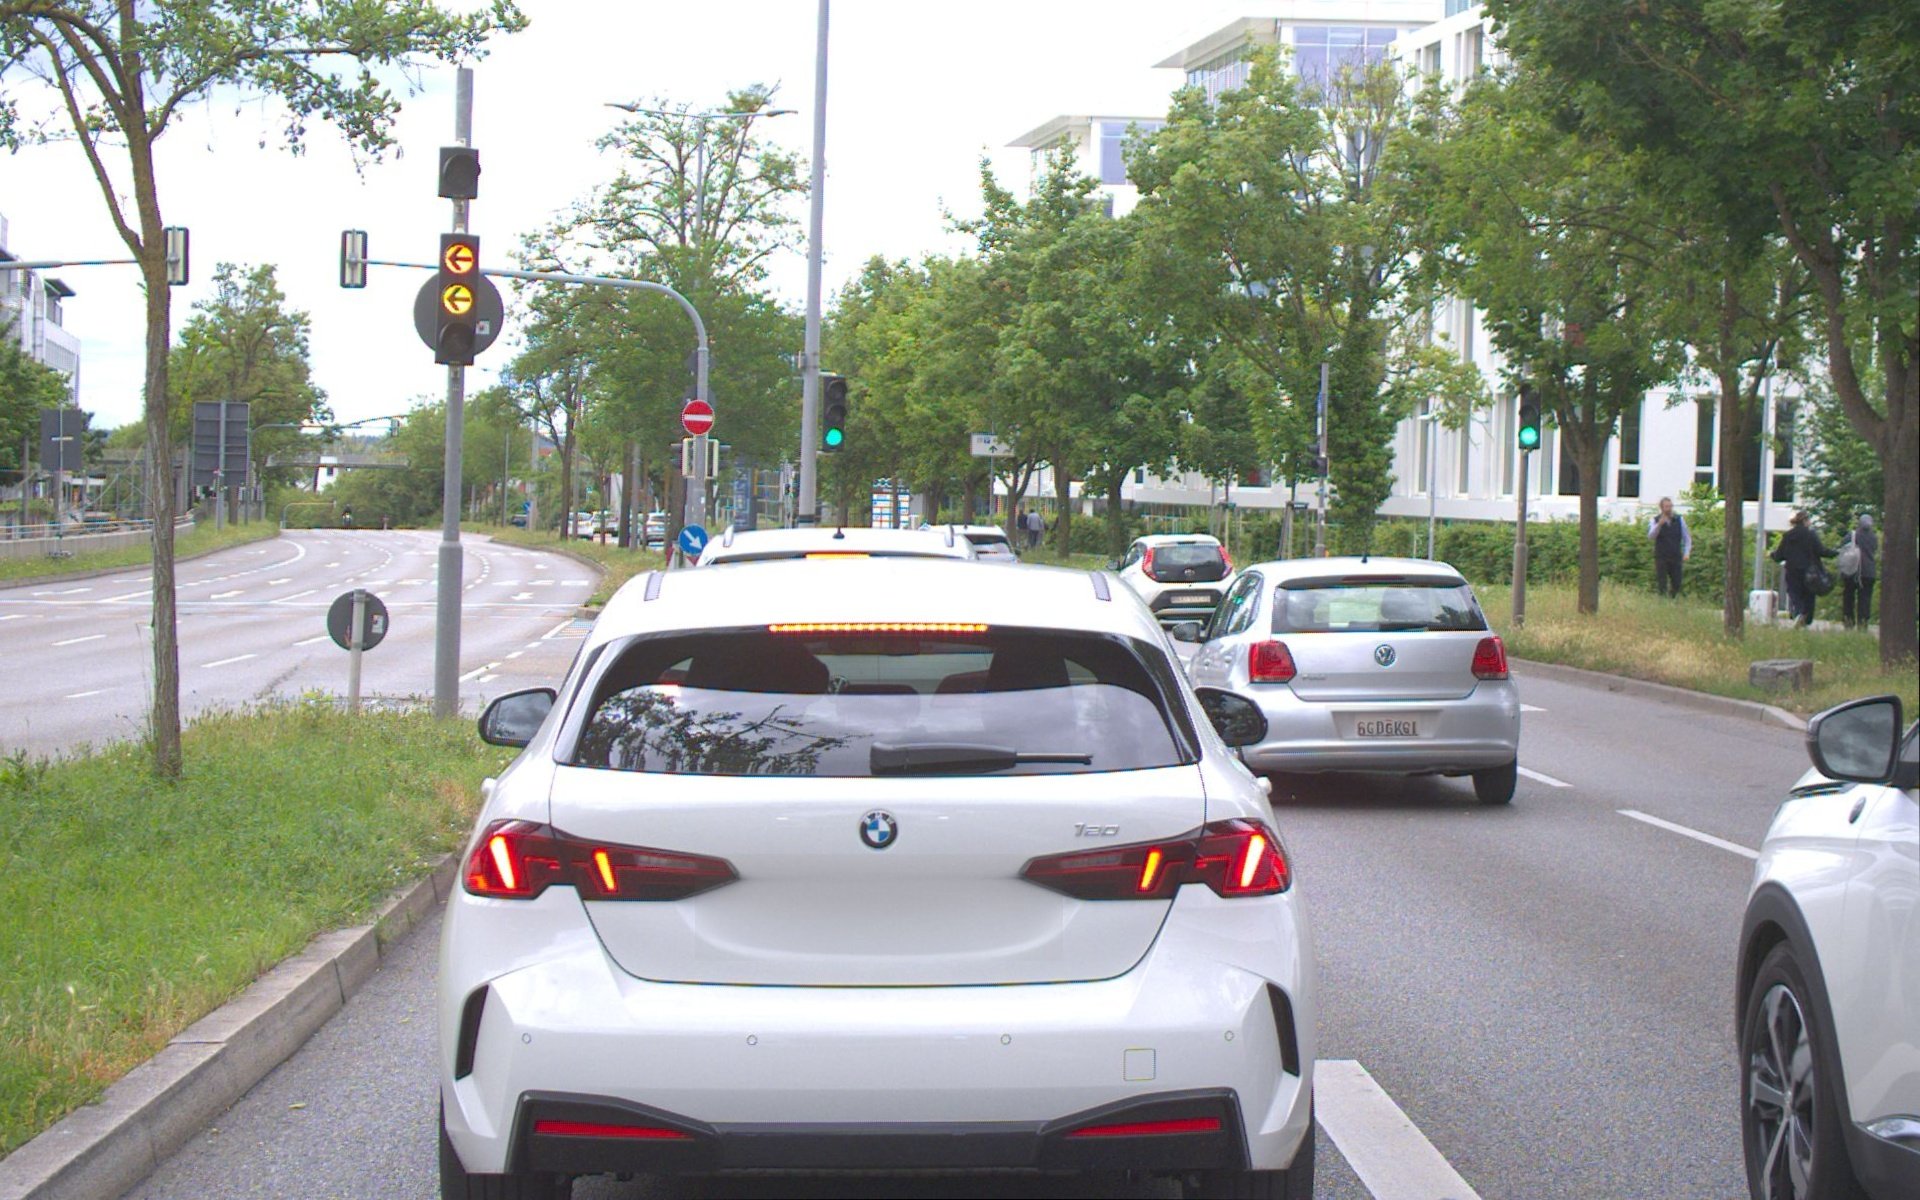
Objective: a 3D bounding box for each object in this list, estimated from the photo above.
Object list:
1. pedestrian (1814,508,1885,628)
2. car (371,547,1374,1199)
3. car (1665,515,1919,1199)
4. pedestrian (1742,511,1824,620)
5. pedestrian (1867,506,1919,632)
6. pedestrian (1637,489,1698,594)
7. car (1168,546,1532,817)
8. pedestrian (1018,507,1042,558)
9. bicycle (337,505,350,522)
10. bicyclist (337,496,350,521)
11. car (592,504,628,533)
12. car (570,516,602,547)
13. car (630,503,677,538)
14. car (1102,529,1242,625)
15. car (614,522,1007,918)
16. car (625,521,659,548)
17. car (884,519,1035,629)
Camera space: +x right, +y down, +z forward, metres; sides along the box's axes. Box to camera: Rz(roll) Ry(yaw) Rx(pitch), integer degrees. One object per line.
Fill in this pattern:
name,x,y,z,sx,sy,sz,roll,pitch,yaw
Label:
pedestrian,11.999,-0.431,46.390,0.699,1.590,0.883,1,0,-1
car,-0.187,0.615,8.340,1.822,1.433,4.000,1,1,-1
car,2.608,0.654,5.763,1.854,1.590,4.314,0,1,-1
pedestrian,11.160,-0.468,46.640,0.789,1.443,1.112,1,0,-1
pedestrian,12.766,-0.420,46.391,0.767,1.679,0.883,1,0,-1
pedestrian,10.664,-0.878,51.806,0.741,1.568,0.674,1,0,-1
car,2.283,0.427,20.958,1.605,1.463,3.676,1,1,-3
pedestrian,2.784,-2.706,137.466,0.762,2.007,0.754,1,0,-15
bicycle,-41.136,-5.763,229.342,0.810,1.100,2.557,1,1,-10
bicyclist,-41.147,-6.117,229.430,0.810,1.647,1.189,1,0,-10
car,-22.184,-5.157,217.829,1.993,1.726,4.001,1,1,-10
car,-21.006,-3.825,193.049,1.695,1.711,4.001,1,1,-7
car,-15.170,-3.924,170.245,1.993,1.664,4.001,-1,1,-10
car,3.228,-0.374,52.801,1.653,1.420,3.536,0,1,-5
car,-0.625,0.446,15.858,1.549,1.563,4.000,1,1,-1
car,-17.916,-3.692,193.644,1.692,1.481,3.694,1,1,-8
car,-0.048,-0.427,52.822,1.891,1.590,4.314,1,1,-5
